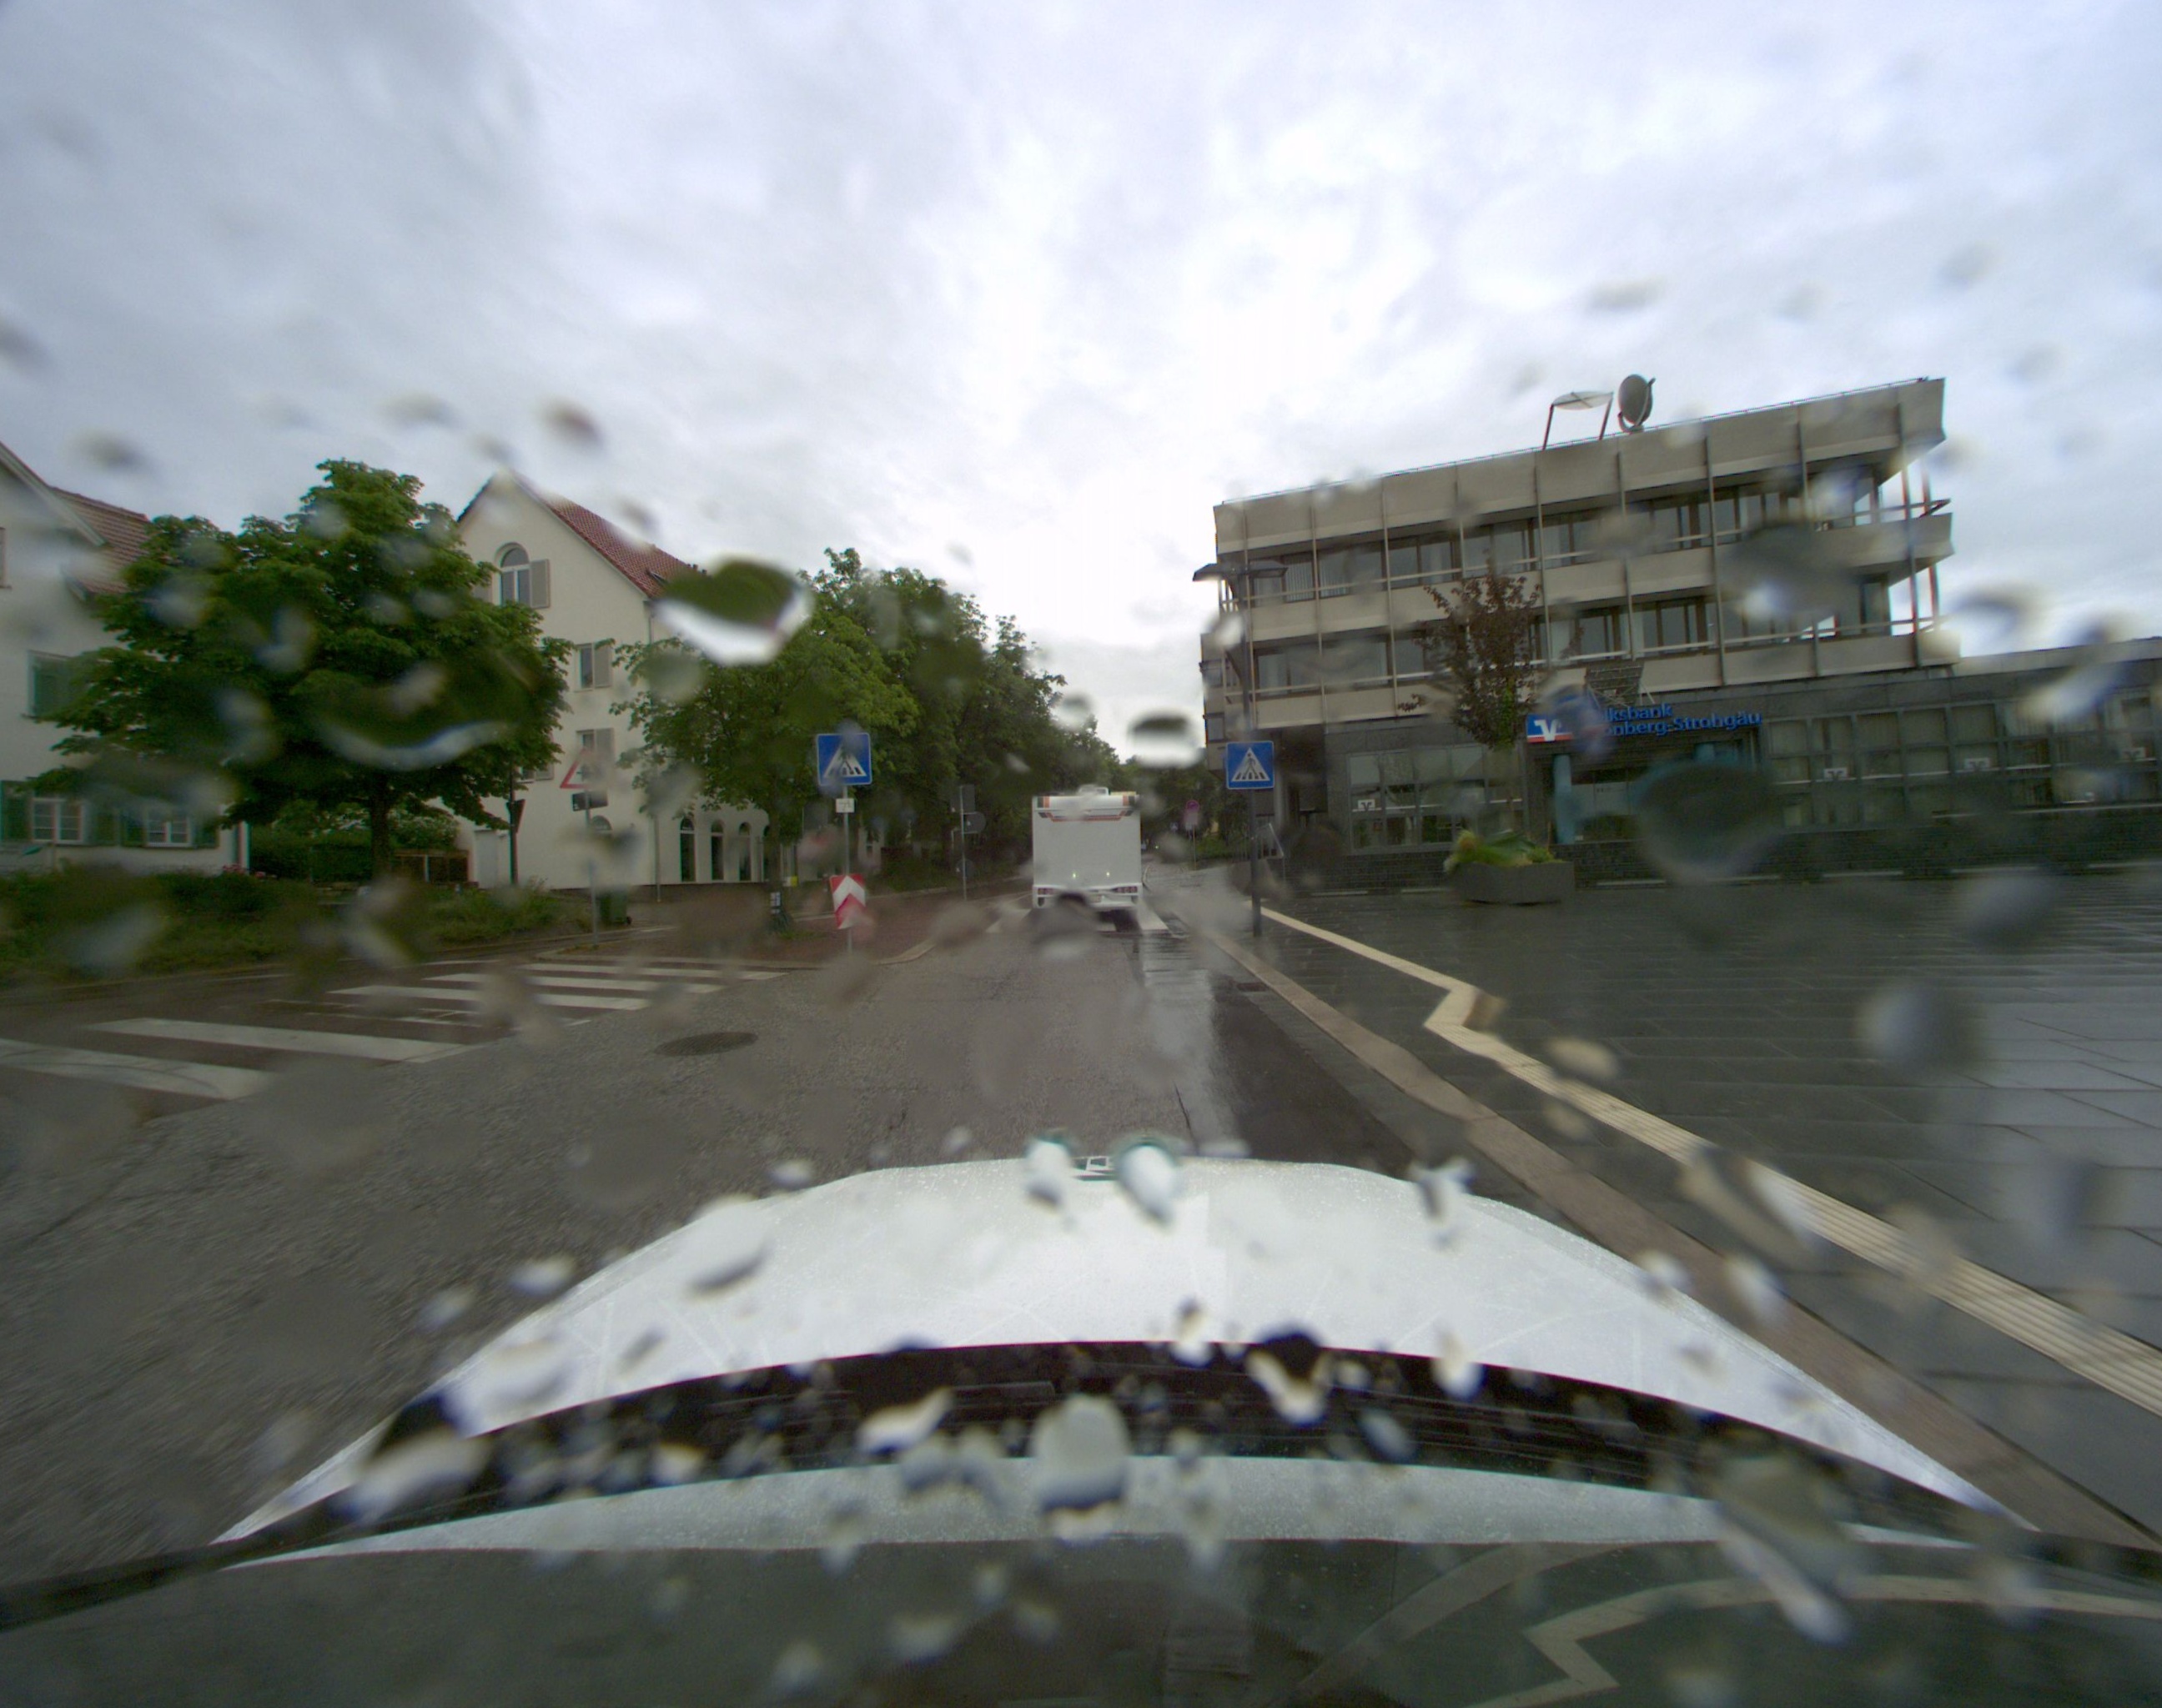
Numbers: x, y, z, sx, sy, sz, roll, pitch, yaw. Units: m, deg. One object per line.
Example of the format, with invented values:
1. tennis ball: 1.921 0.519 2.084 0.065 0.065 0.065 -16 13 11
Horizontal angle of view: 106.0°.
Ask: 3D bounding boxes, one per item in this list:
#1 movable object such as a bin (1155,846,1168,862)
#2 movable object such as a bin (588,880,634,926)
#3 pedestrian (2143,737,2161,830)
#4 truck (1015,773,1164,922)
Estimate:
1. movable object such as a bin: 5.996 0.009 60.684 0.697 1.124 0.574 -4 -1 24
2. movable object such as a bin: -11.555 1.191 20.017 0.628 1.059 0.702 -4 -1 27
3. pedestrian: 25.270 -1.649 18.692 0.751 2.147 0.662 -4 -1 22
4. truck: 0.260 -0.079 19.274 2.795 2.797 6.108 -4 -1 1
